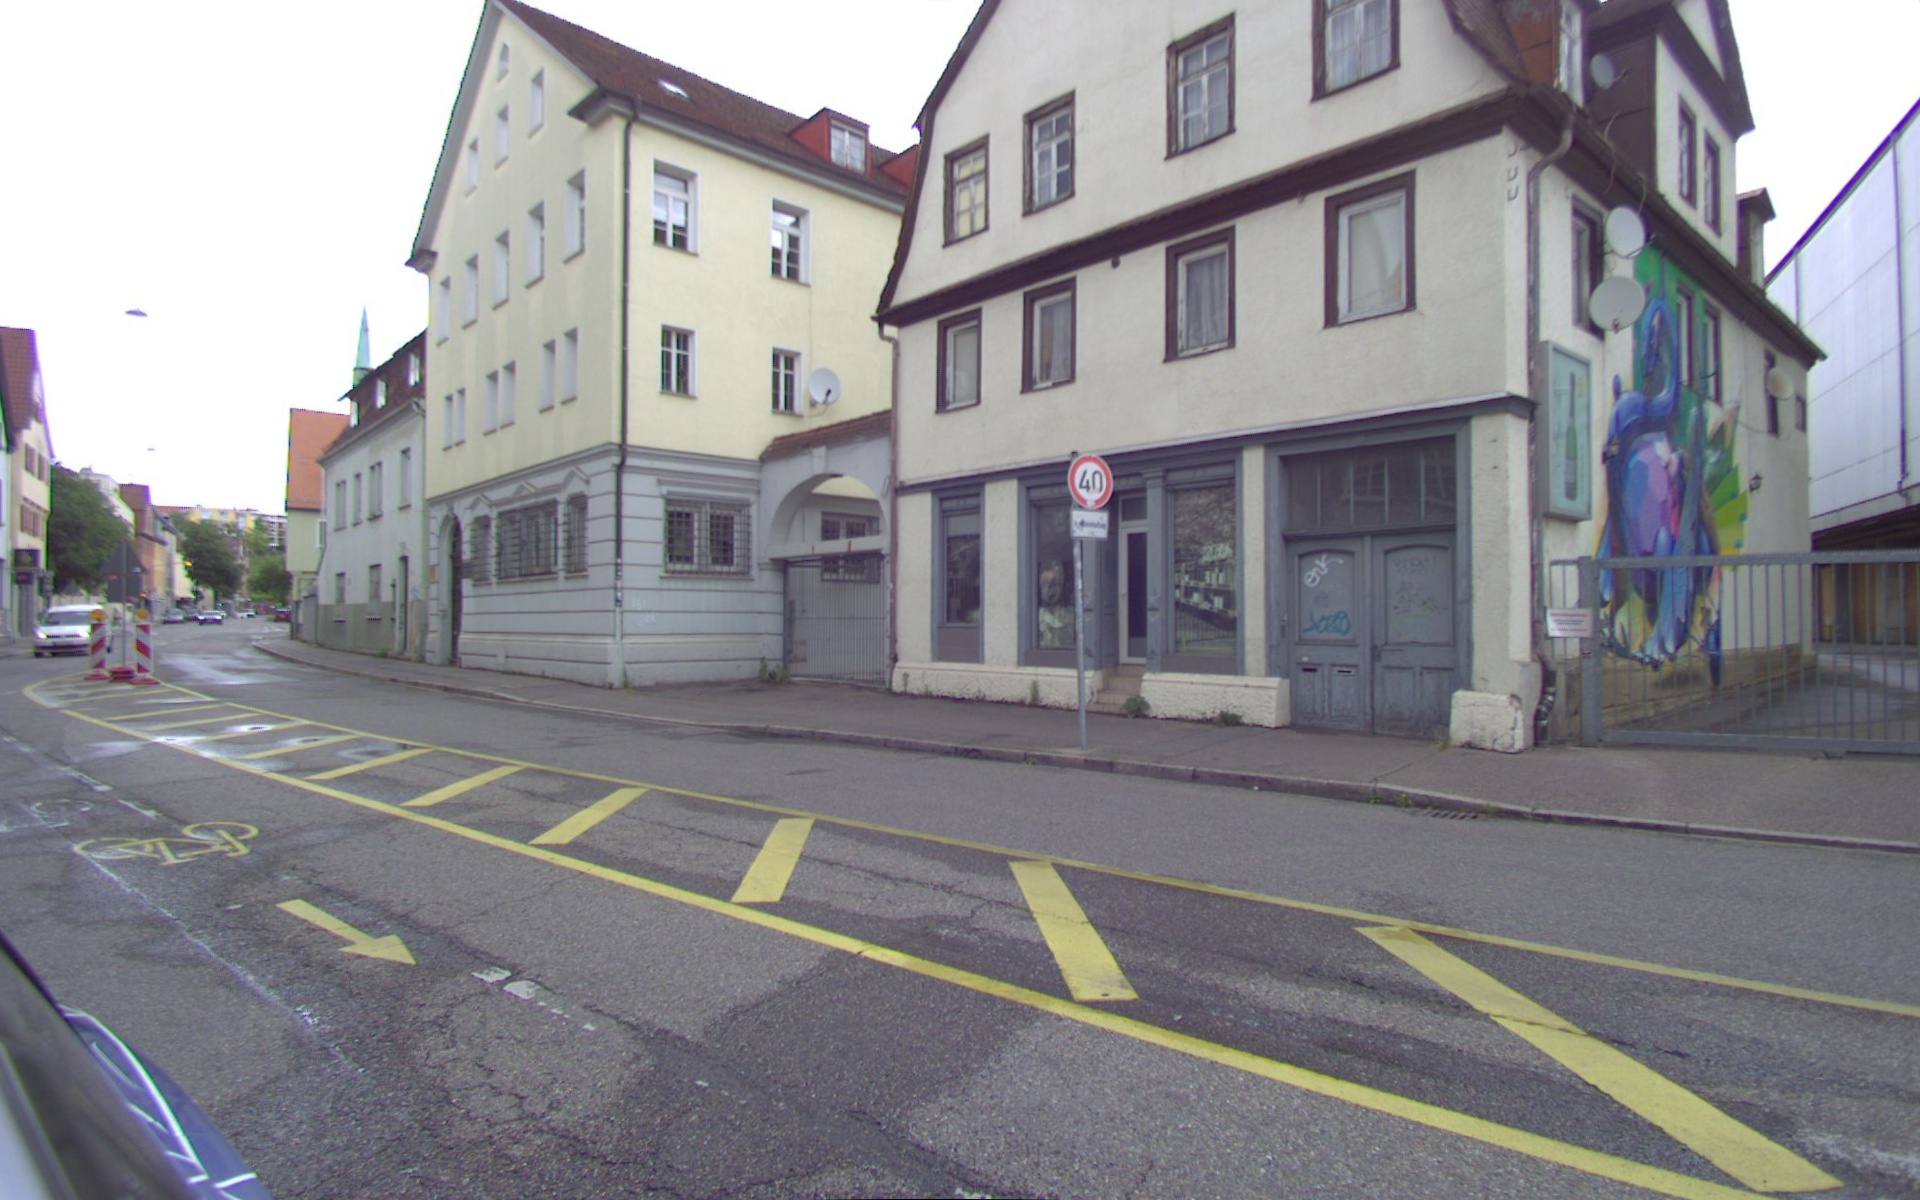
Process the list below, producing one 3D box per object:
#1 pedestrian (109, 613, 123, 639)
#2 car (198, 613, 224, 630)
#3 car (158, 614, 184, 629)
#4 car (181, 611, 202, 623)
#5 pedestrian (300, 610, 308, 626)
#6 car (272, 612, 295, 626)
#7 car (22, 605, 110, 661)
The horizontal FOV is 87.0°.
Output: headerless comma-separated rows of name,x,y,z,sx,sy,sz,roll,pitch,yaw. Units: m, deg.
pedestrian,-76.895,2.356,92.214,0.888,2.328,0.822,1,-2,-36
car,-75.513,2.153,102.082,1.967,1.691,4.010,0,0,-34
car,-84.970,2.289,109.001,2.001,1.567,4.010,2,-2,-35
car,-96.591,2.158,127.211,1.792,1.399,4.011,2,-2,-32
pedestrian,-83.866,2.361,129.322,0.823,2.029,0.847,1,-2,-36
car,-85.879,2.453,128.431,2.178,1.690,4.509,2,-2,-36
car,-31.368,1.122,35.621,1.968,1.800,4.477,2,-1,-38
